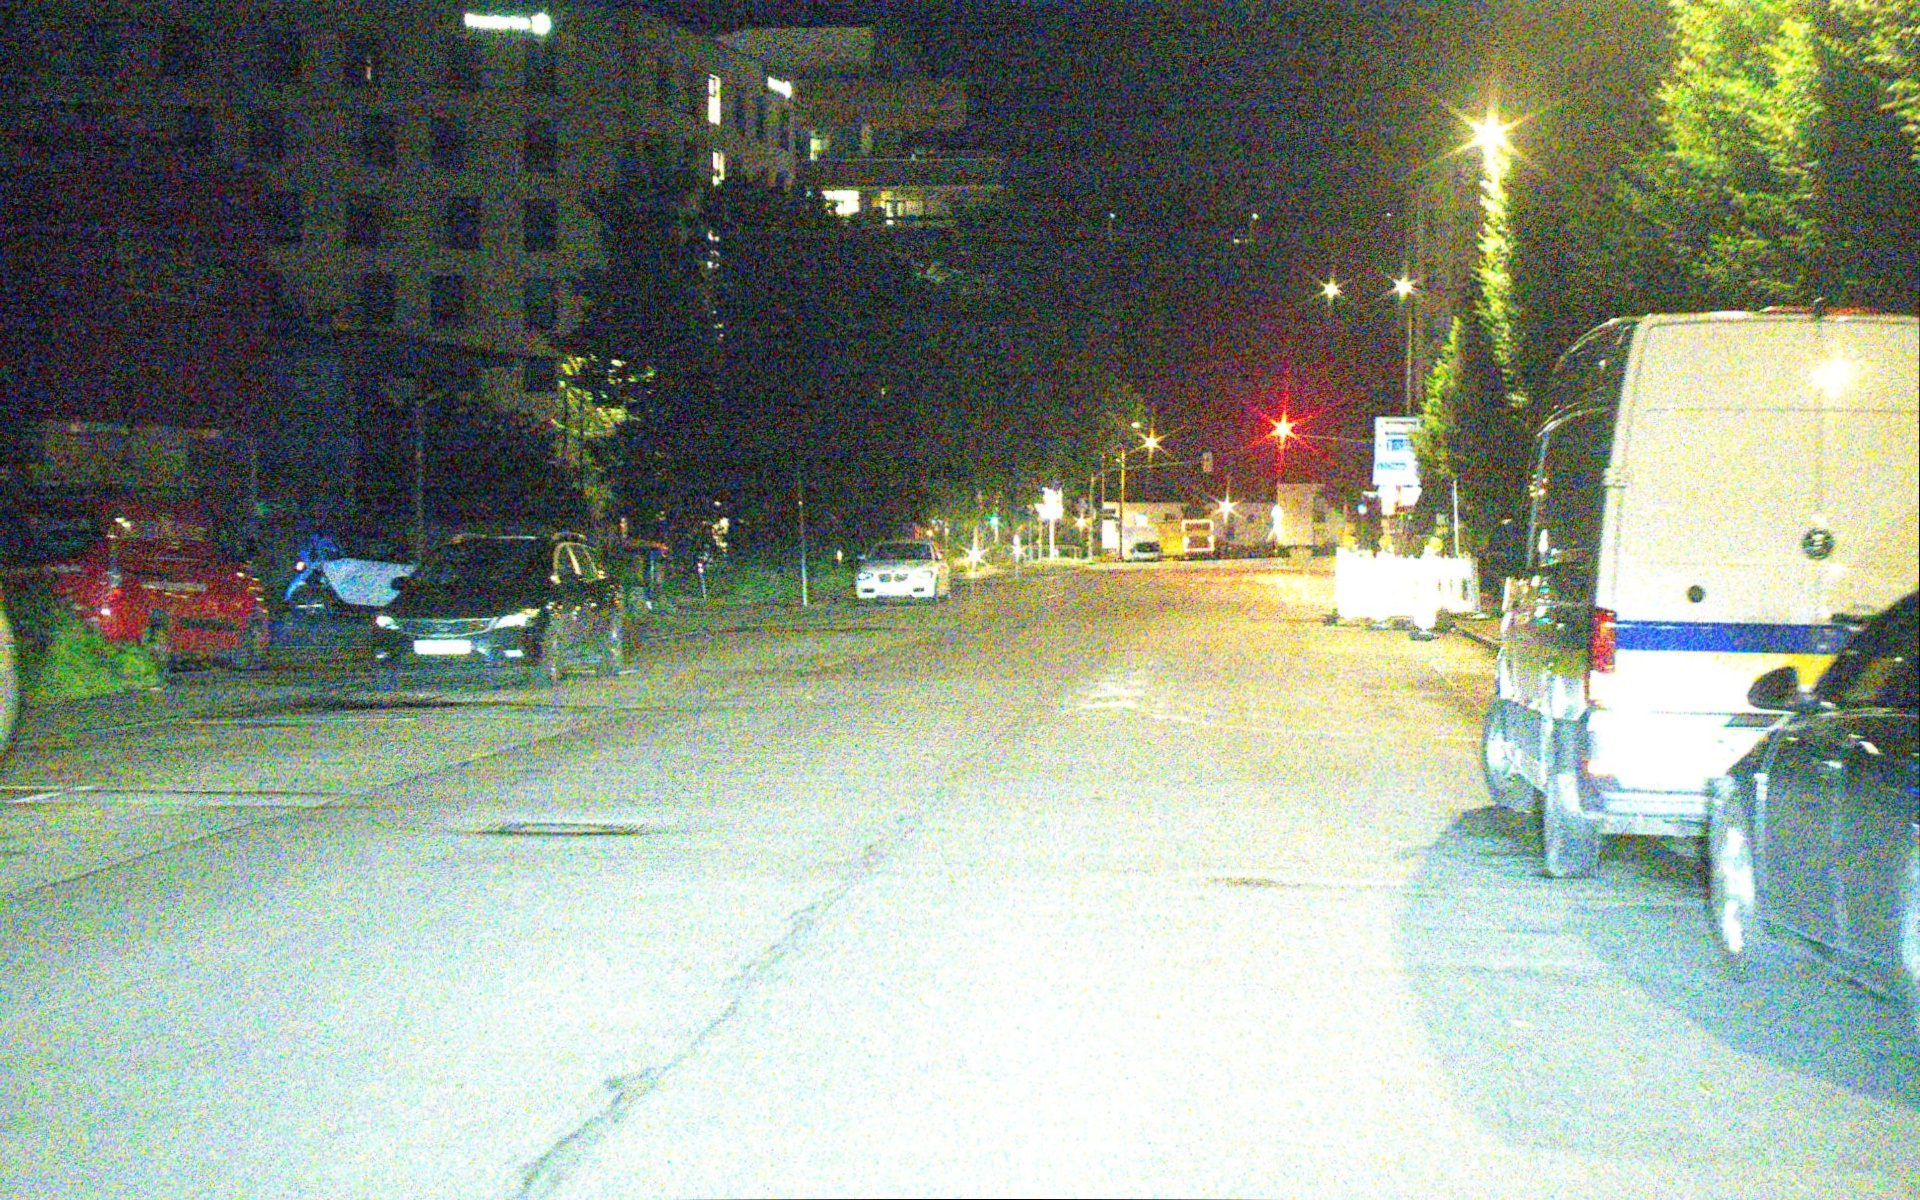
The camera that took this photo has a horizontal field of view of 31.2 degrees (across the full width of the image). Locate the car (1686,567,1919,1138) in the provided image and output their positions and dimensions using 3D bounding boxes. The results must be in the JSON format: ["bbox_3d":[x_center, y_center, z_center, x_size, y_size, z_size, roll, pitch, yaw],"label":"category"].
[{"bbox_3d":[3.468,0.682,10.244,1.710,1.503,4.640,0,1,1],"label":"car"}]

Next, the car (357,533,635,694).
[{"bbox_3d":[-4.625,0.096,34.888,1.755,1.521,4.321,0,1,7],"label":"car"}]

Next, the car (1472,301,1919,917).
[{"bbox_3d":[3.797,-0.025,17.153,2.021,2.518,6.051,1,1,5],"label":"car"}]

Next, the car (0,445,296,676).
[{"bbox_3d":[-9.129,-0.450,37.603,1.994,2.313,4.965,-2,1,9],"label":"car"}]

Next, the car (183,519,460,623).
[{"bbox_3d":[-10.193,-0.475,55.064,3.988,1.565,1.817,-1,1,5],"label":"car"}]

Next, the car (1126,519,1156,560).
[{"bbox_3d":[13.385,-4.498,254.727,1.993,2.963,4.000,0,1,0],"label":"car"}]

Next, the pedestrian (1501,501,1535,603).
[{"bbox_3d":[10.188,-0.875,62.804,0.570,1.846,0.820,0,1,6],"label":"pedestrian"}]

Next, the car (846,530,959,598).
[{"bbox_3d":[-1.219,-0.799,74.417,1.911,1.399,4.337,-1,1,6],"label":"car"}]

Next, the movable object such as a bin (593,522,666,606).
[{"bbox_3d":[-5.982,-0.657,62.309,1.164,1.490,1.065,0,1,3],"label":"movable object such as a bin"}]

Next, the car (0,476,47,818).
[{"bbox_3d":[-6.108,0.294,16.528,1.829,1.810,4.838,-1,1,4],"label":"car"}]
